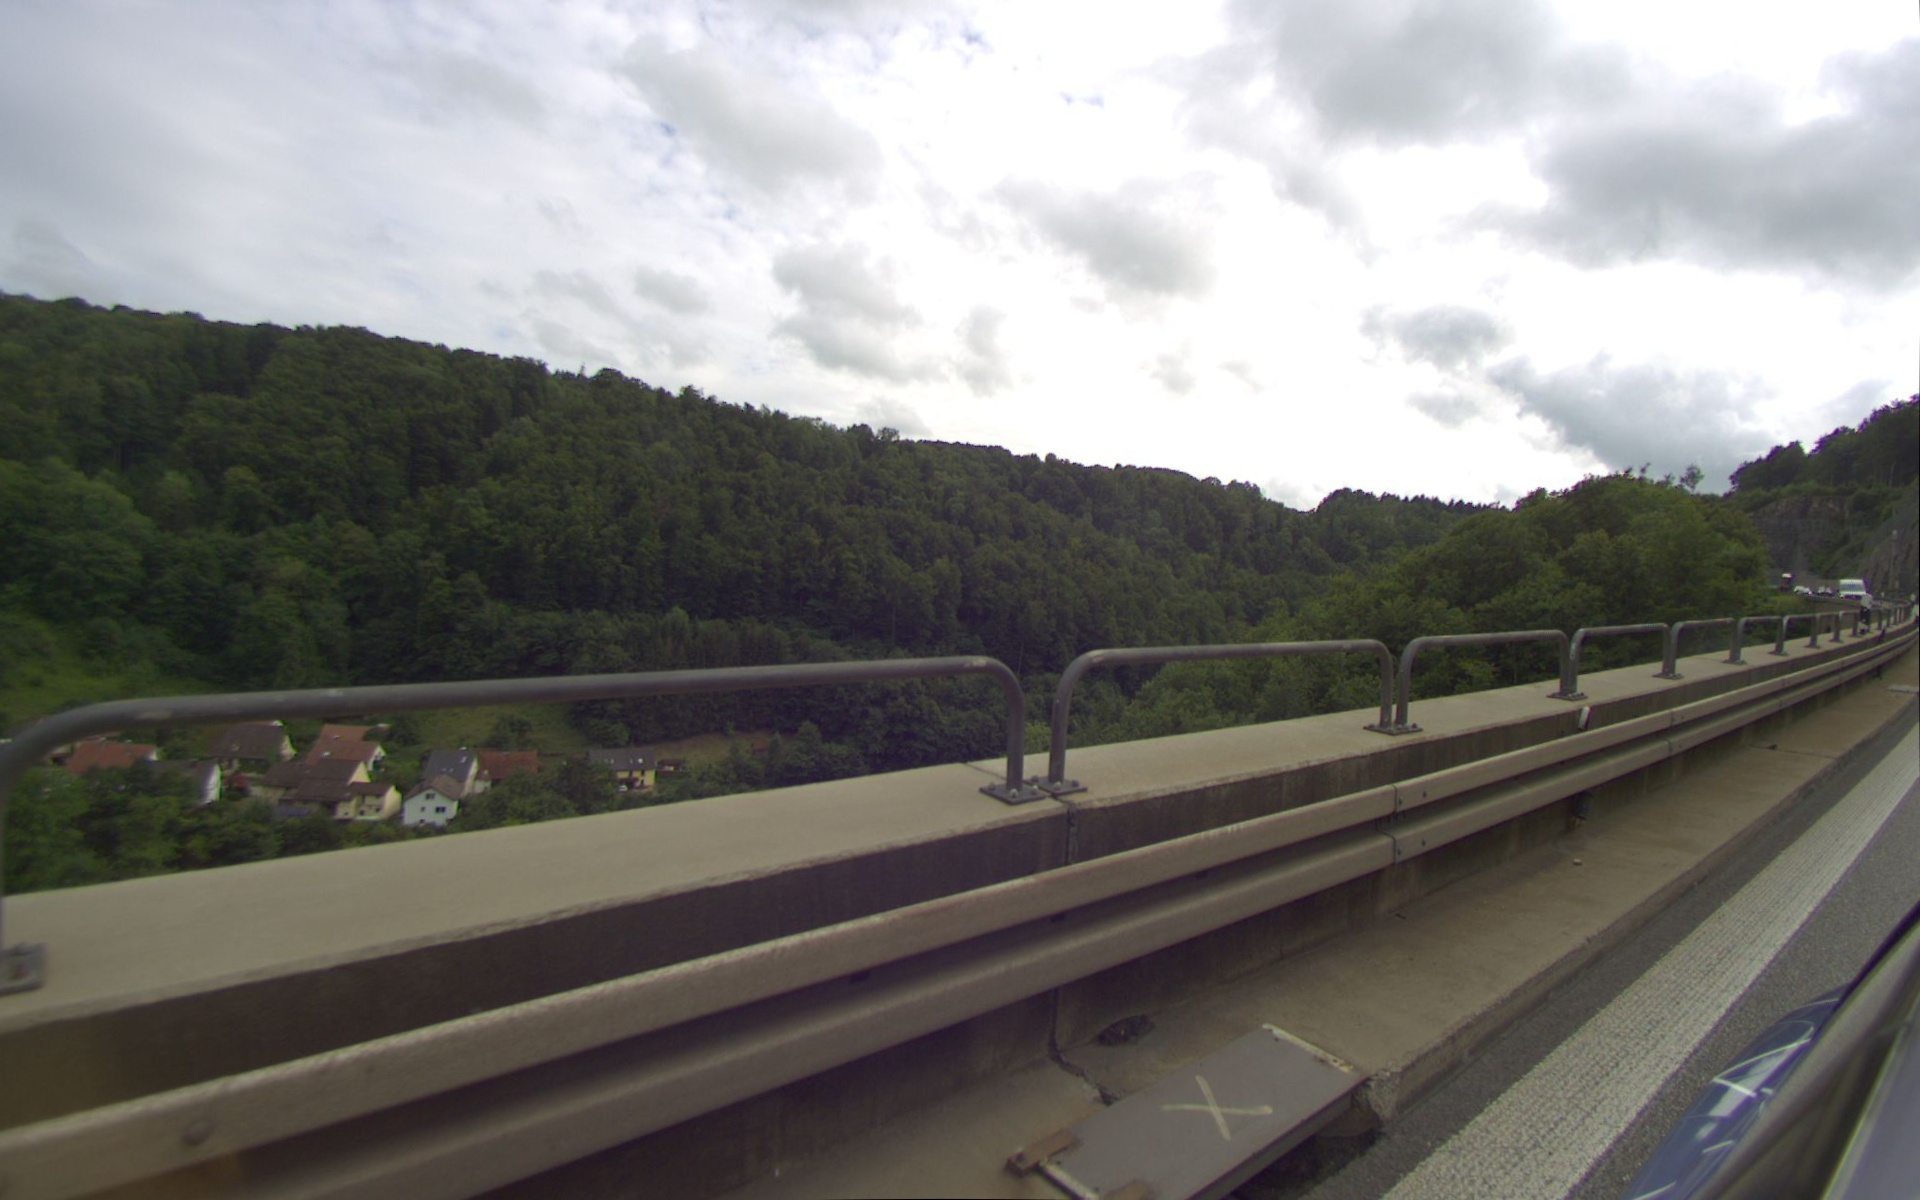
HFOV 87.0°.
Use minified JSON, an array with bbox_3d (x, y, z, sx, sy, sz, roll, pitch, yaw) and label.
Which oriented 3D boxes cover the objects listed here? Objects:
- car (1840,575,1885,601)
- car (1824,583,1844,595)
[{"bbox_3d":[87.577,-1.149,98.324,2.660,2.453,6.041,1,1,36],"label":"car"},{"bbox_3d":[142.509,-1.775,164.987,1.987,2.039,3.950,1,1,35],"label":"car"}]
